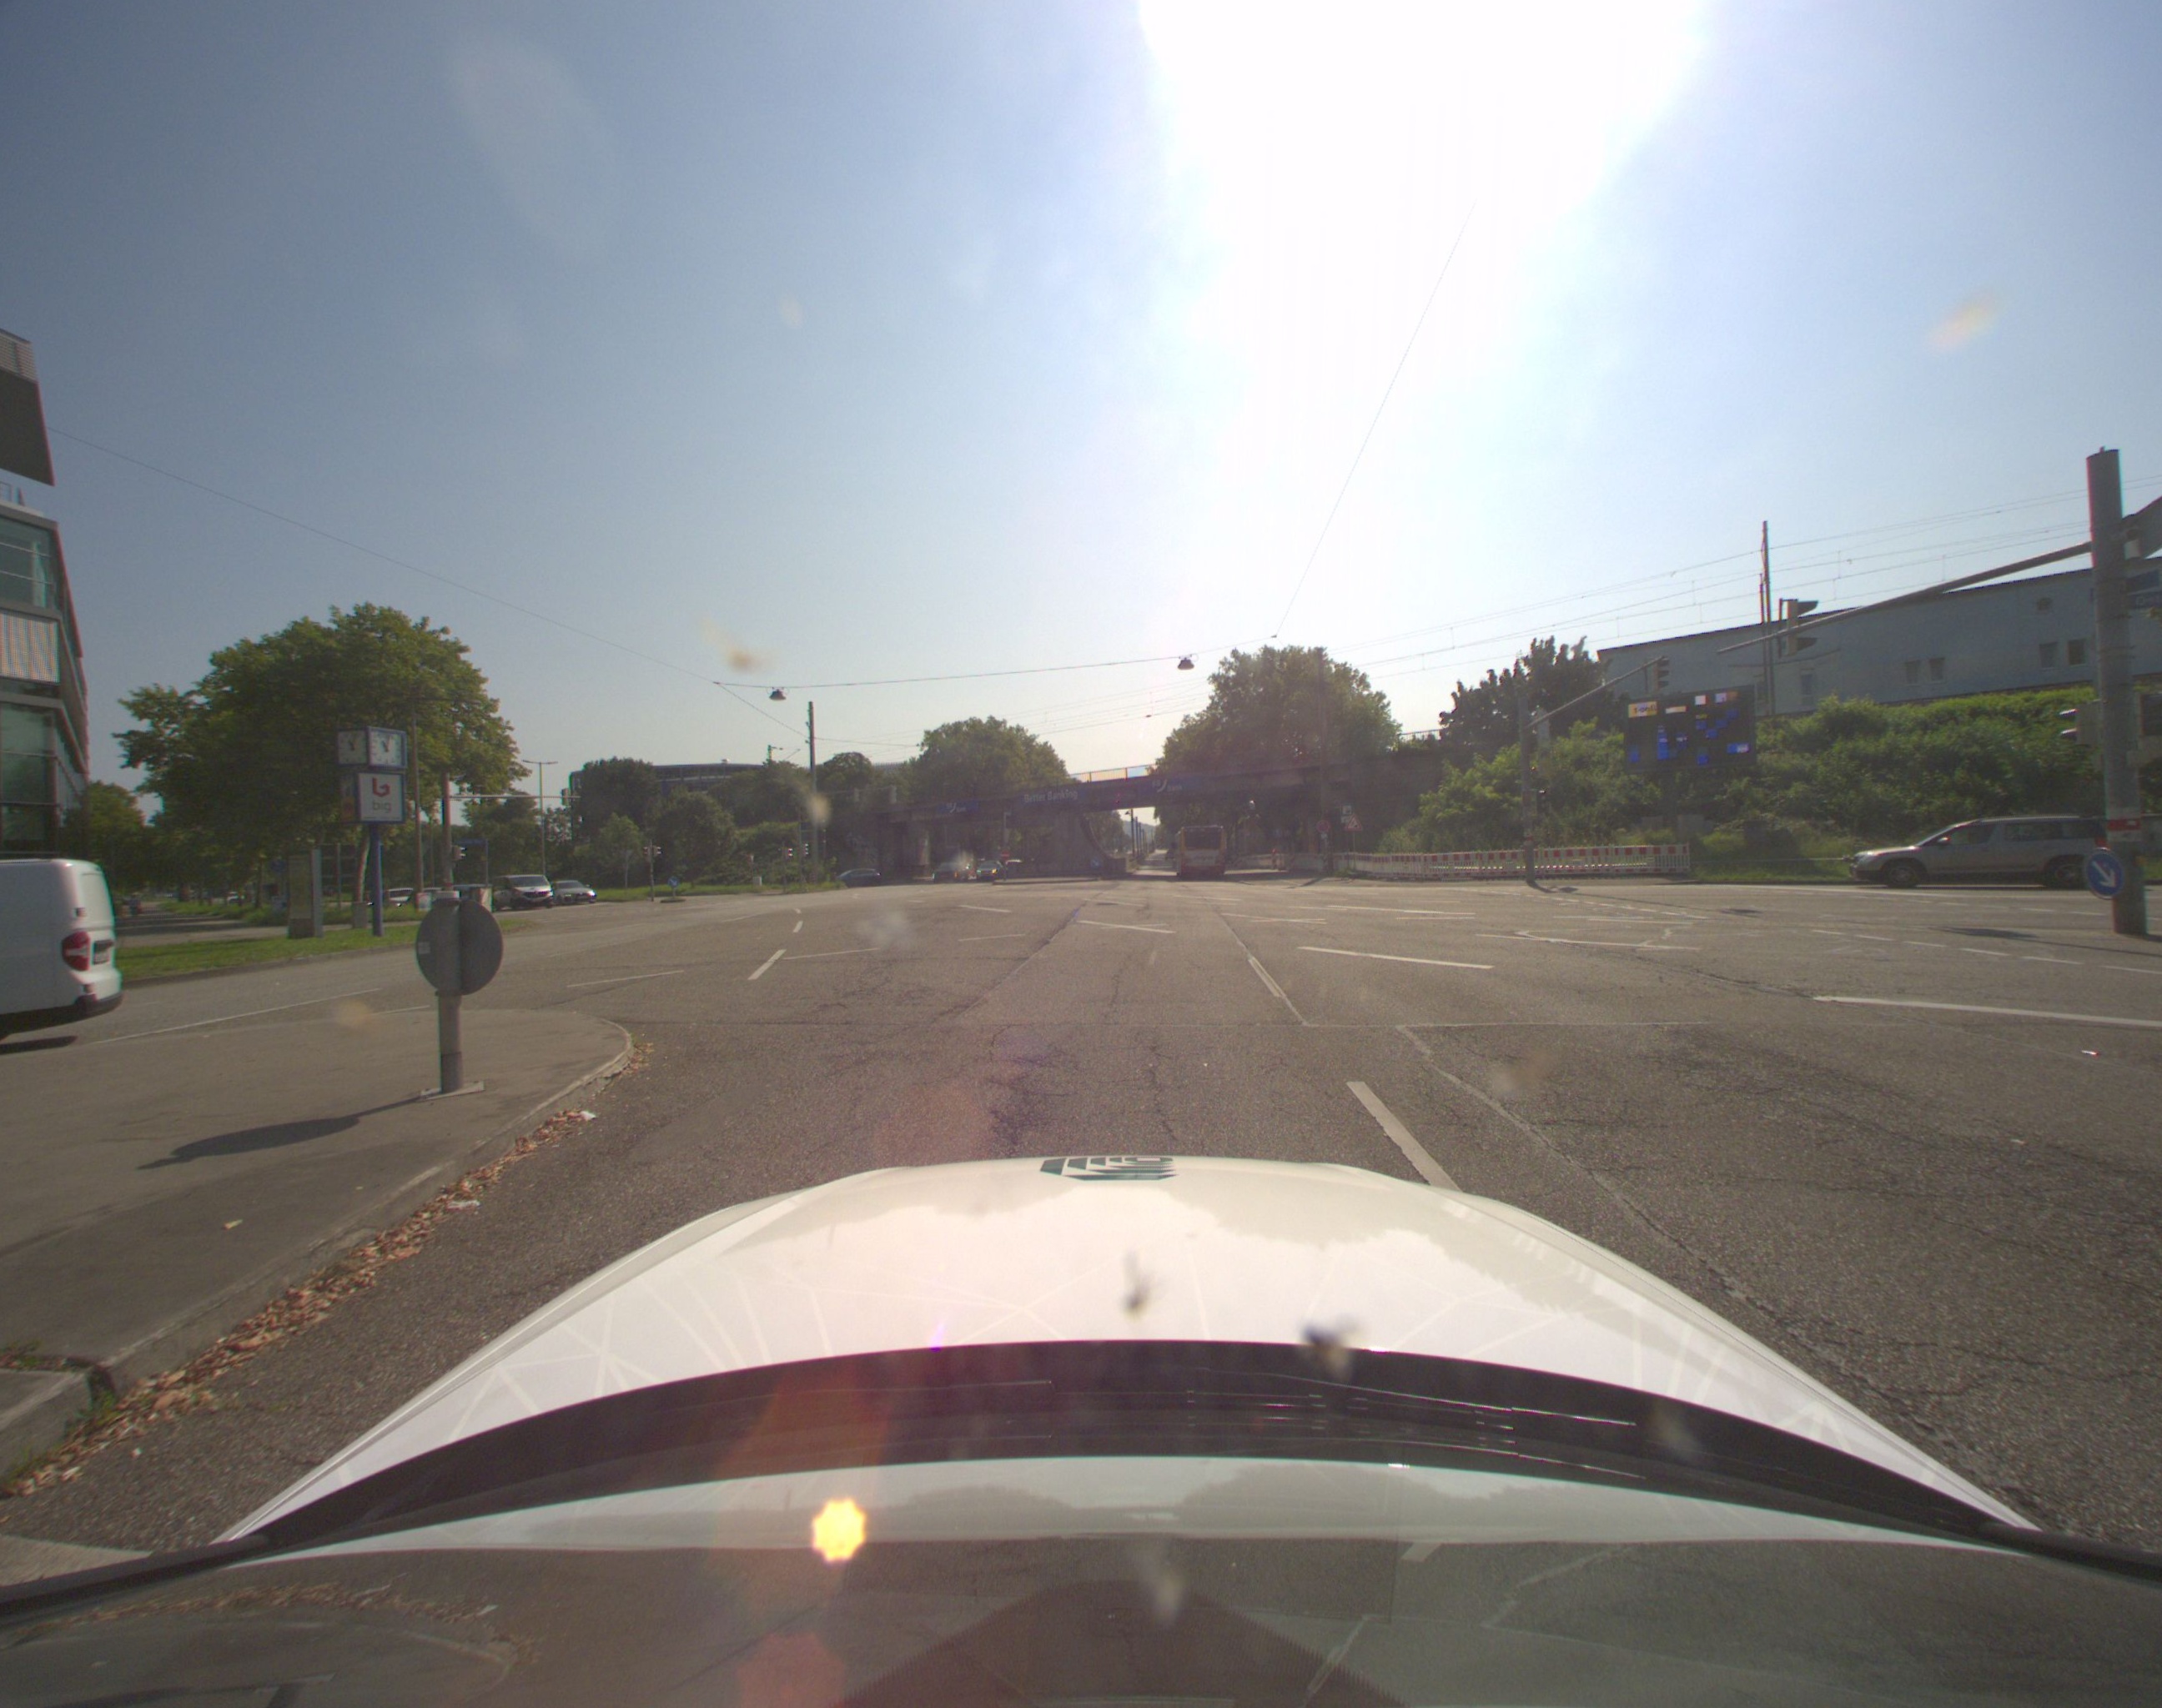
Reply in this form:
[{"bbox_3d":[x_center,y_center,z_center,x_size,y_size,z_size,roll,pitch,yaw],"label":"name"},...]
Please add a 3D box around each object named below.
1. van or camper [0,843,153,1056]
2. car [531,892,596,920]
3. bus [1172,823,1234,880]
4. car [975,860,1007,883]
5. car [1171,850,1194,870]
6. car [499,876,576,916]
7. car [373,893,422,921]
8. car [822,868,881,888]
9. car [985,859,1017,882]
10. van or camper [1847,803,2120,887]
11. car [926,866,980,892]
[{"bbox_3d":[-12.007,1.012,7.048,4.975,1.947,1.825,-3,0,-41],"label":"van or camper"},{"bbox_3d":[-30.811,3.078,48.464,4.546,1.443,1.853,-3,1,39],"label":"car"},{"bbox_3d":[7.592,-0.130,52.204,3.120,3.113,12.307,-2,0,5],"label":"bus"},{"bbox_3d":[-6.589,1.278,59.971,1.715,1.538,3.697,-3,-1,2],"label":"car"},{"bbox_3d":[10.487,0.599,84.171,1.986,2.014,4.002,0,0,2],"label":"car"},{"bbox_3d":[-29.439,2.242,44.043,5.145,1.957,1.946,-2,0,39],"label":"car"},{"bbox_3d":[-42.080,3.279,50.133,3.682,1.535,1.684,-4,1,41],"label":"car"},{"bbox_3d":[-17.636,1.836,62.650,4.022,1.428,1.765,0,0,-42],"label":"car"},{"bbox_3d":[-6.304,1.251,64.650,1.986,1.573,4.350,-2,2,2],"label":"car"},{"bbox_3d":[21.054,-0.182,19.308,4.121,1.776,1.863,0,0,41],"label":"van or camper"},{"bbox_3d":[-9.521,1.845,60.958,1.885,1.617,4.497,-4,-1,20],"label":"car"}]
